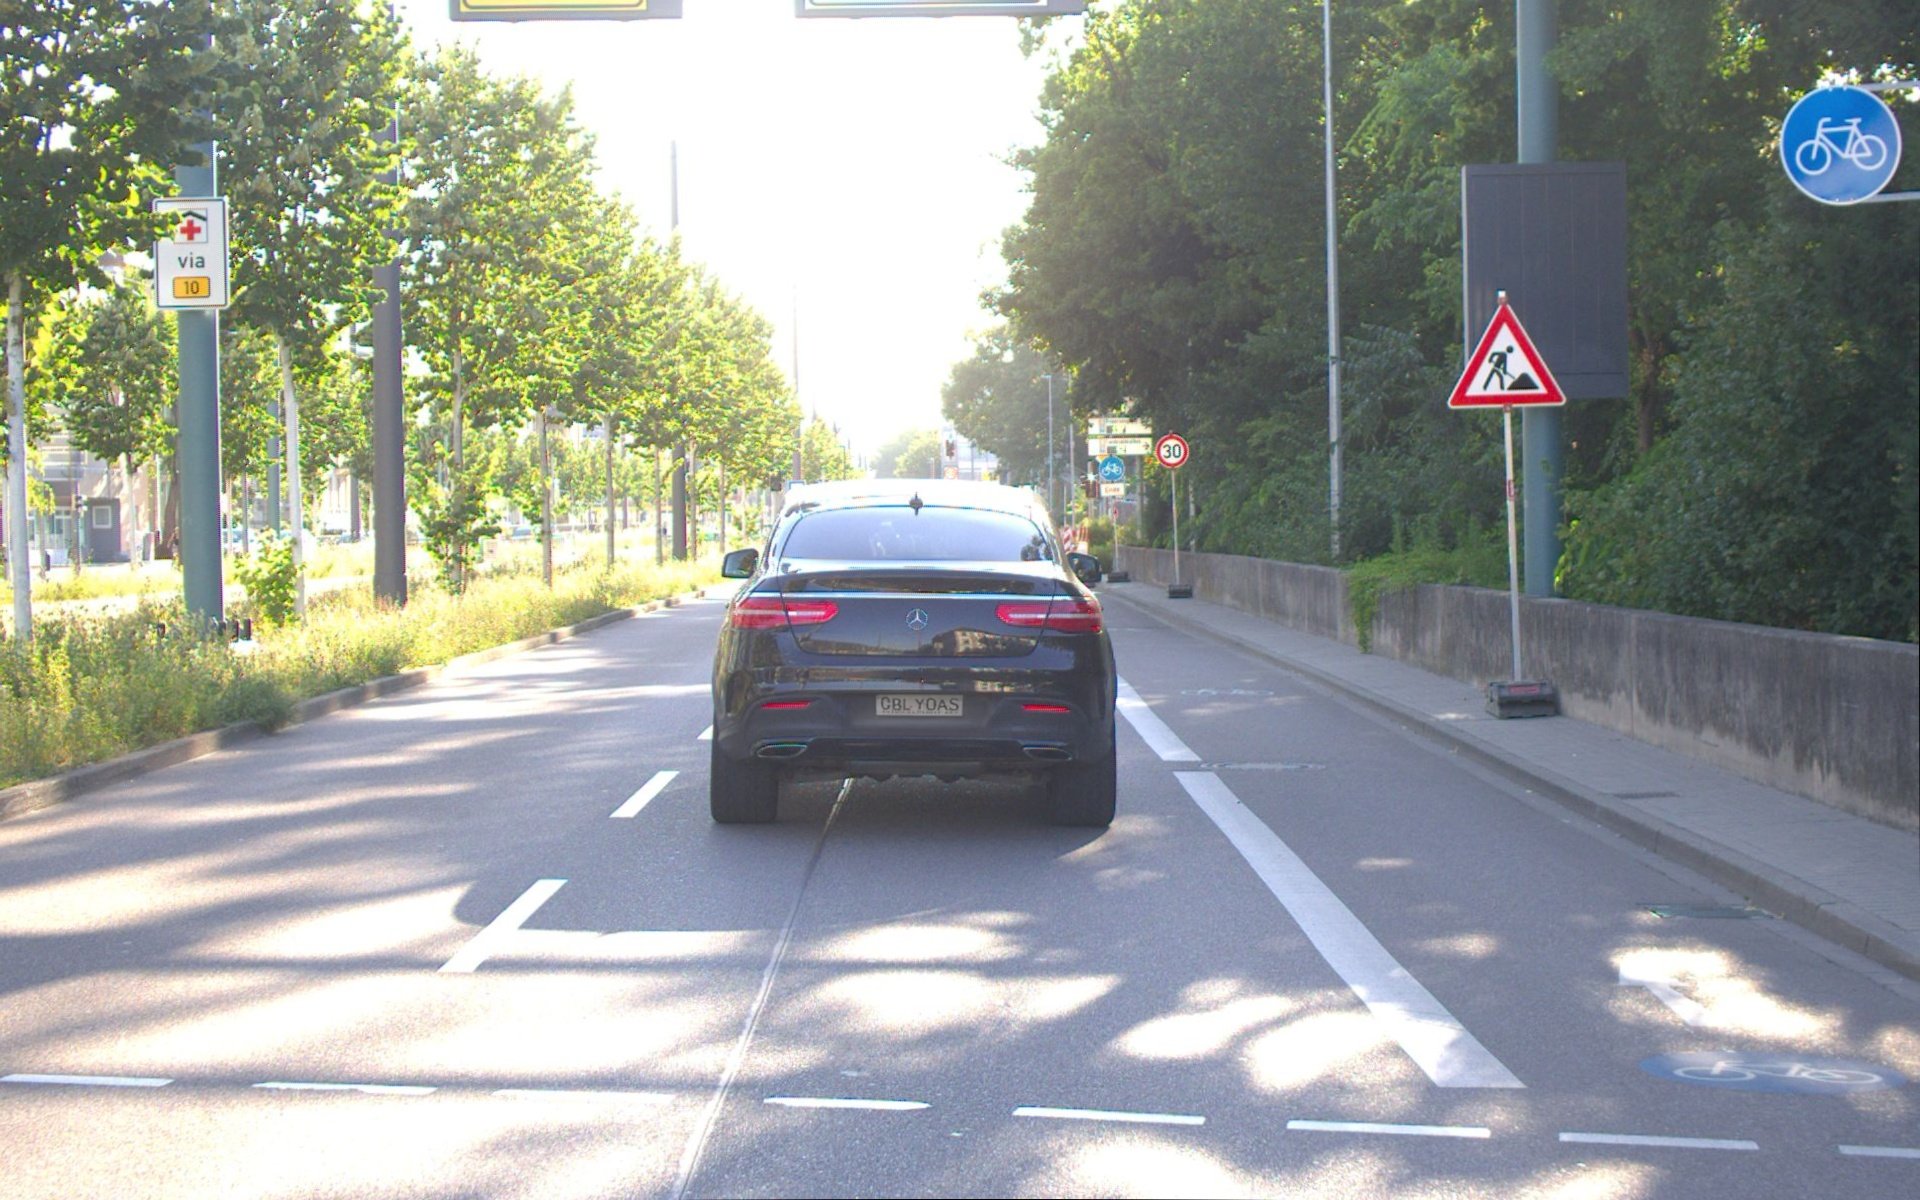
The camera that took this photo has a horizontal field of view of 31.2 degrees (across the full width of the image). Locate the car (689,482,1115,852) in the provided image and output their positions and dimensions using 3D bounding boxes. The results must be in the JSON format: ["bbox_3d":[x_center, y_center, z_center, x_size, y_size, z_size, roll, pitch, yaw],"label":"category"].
[{"bbox_3d":[-0.225,0.261,18.127,1.993,1.728,4.000,0,1,1],"label":"car"}]

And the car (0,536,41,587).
[{"bbox_3d":[-30.871,-1.194,106.855,3.989,1.557,1.999,-1,2,-42],"label":"car"}]

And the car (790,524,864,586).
[{"bbox_3d":[-3.570,-1.240,92.870,1.885,1.575,4.001,0,2,-1],"label":"car"}]
